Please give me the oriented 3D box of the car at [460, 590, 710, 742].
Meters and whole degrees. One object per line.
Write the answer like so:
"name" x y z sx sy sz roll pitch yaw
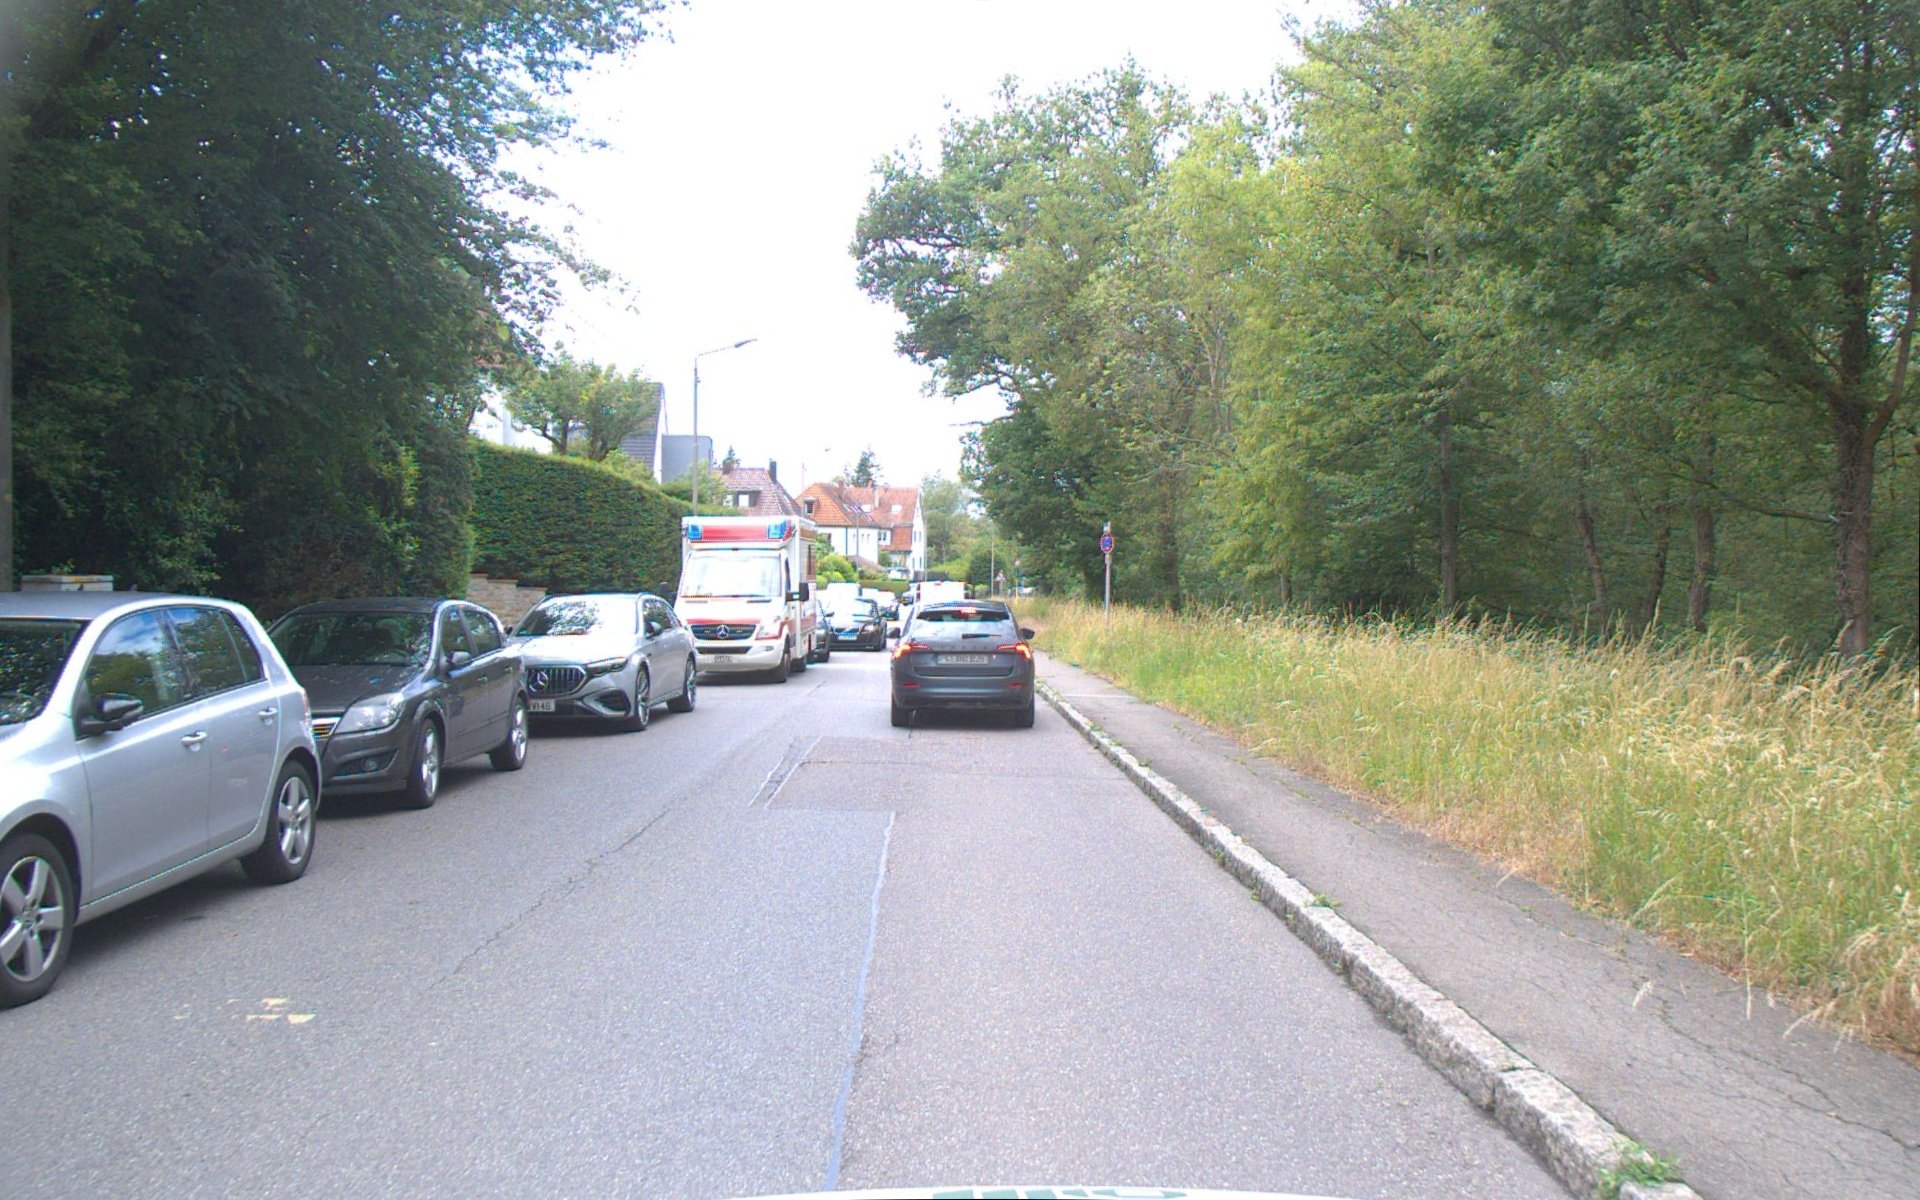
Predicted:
"car" -4.265 0.679 19.629 1.761 1.531 4.863 -1 0 1

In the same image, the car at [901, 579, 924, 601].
"car" -3.824 -0.841 133.195 1.796 1.624 4.323 1 1 -2

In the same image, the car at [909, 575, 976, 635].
"car" -0.668 0.154 58.151 2.031 1.956 4.918 1 0 -4

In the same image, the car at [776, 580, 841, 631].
"car" -5.232 0.171 57.614 1.800 1.677 4.186 -1 0 1

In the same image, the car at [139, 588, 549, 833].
"car" -4.471 0.704 12.683 1.685 1.531 4.059 -1 0 -2

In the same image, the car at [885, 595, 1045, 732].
"car" -0.039 0.708 20.730 1.694 1.464 4.320 1 1 -4

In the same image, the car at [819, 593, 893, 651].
"car" -2.781 0.564 45.134 1.727 1.471 4.473 0 0 0

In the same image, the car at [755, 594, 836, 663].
"car" -3.729 0.600 38.032 1.729 1.471 4.470 0 0 -4

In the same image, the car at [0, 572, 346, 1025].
"car" -4.140 0.688 6.960 1.686 1.531 4.006 -1 0 -2

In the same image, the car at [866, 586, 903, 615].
"car" -3.943 0.008 86.797 1.825 1.439 4.591 2 0 -2

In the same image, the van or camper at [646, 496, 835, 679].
"van or camper" -3.817 -0.224 30.298 2.405 2.945 7.168 0 0 1
